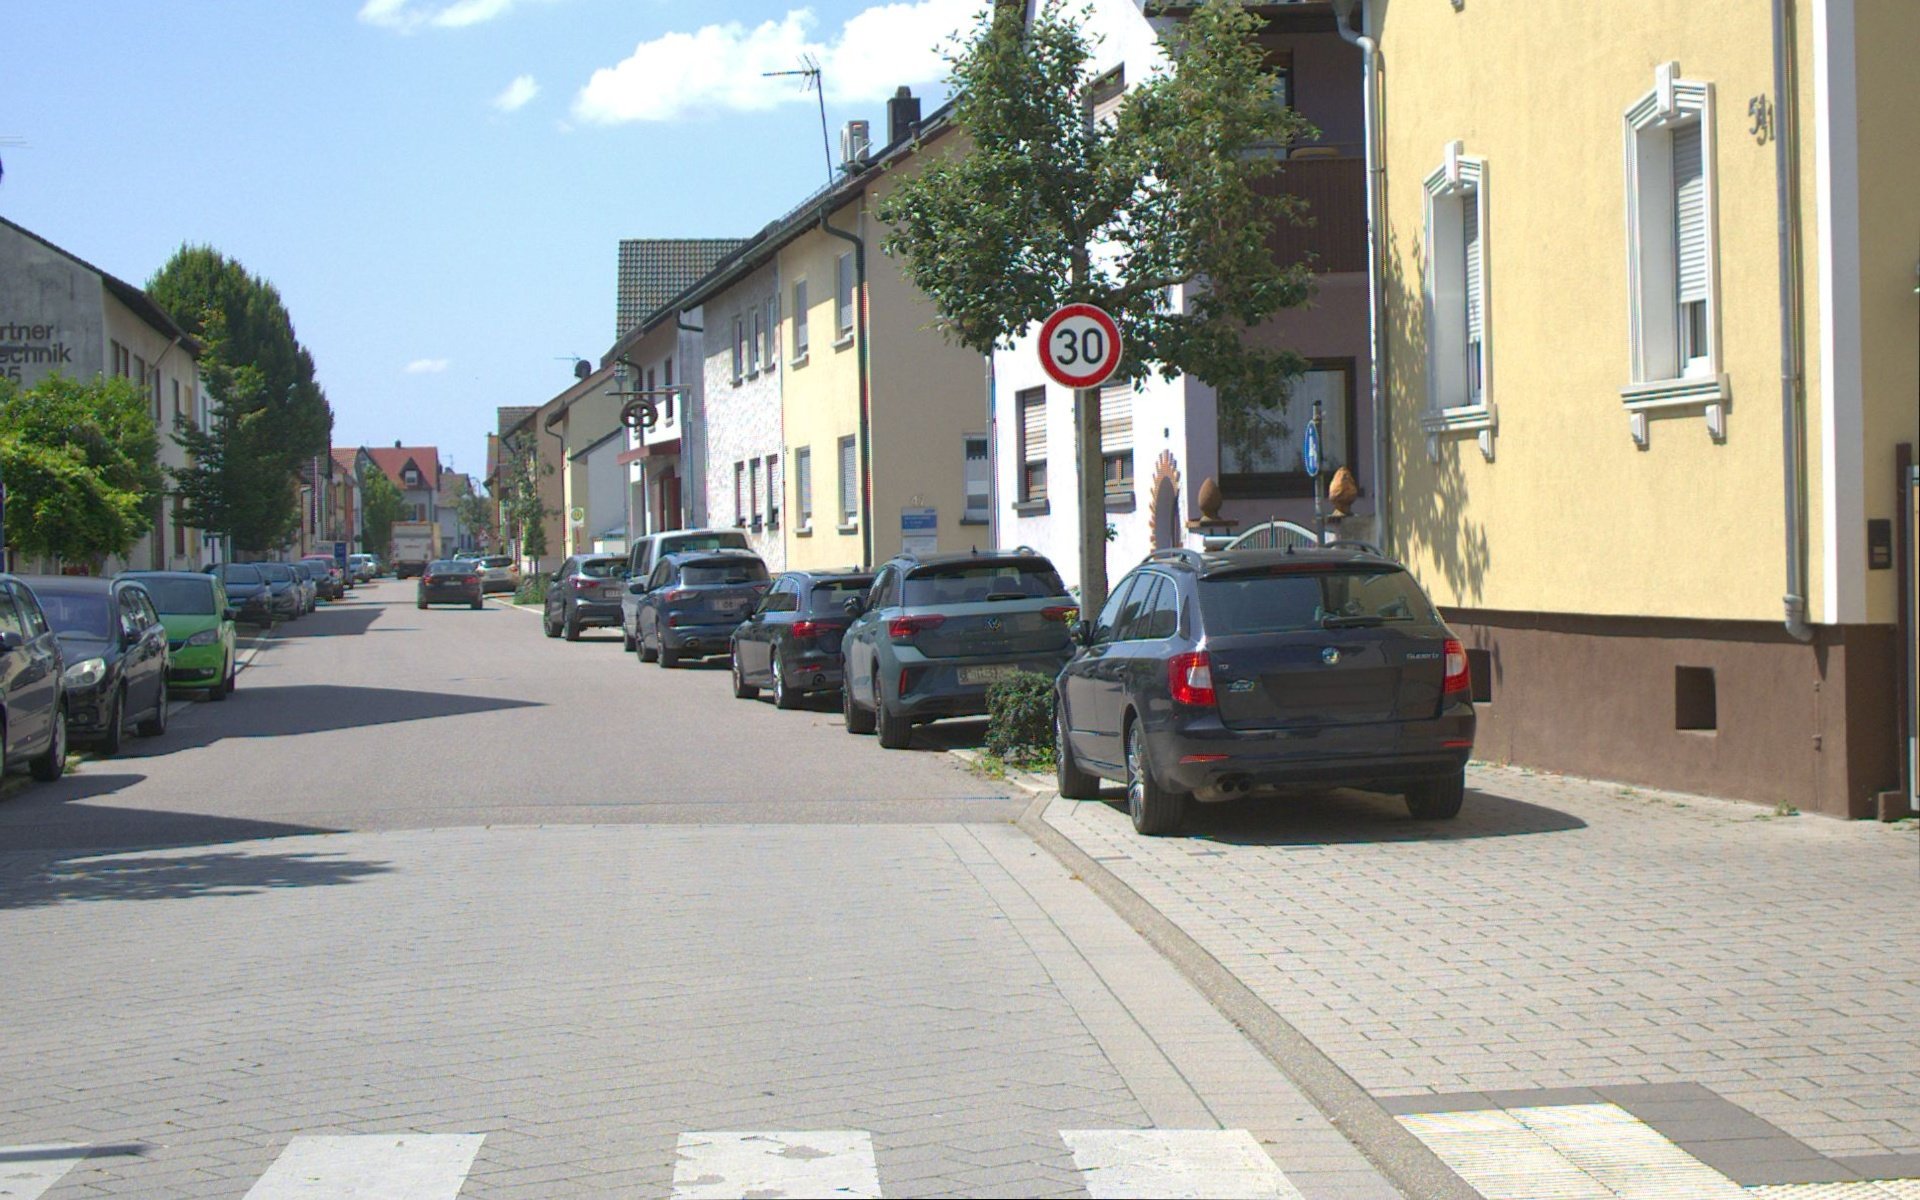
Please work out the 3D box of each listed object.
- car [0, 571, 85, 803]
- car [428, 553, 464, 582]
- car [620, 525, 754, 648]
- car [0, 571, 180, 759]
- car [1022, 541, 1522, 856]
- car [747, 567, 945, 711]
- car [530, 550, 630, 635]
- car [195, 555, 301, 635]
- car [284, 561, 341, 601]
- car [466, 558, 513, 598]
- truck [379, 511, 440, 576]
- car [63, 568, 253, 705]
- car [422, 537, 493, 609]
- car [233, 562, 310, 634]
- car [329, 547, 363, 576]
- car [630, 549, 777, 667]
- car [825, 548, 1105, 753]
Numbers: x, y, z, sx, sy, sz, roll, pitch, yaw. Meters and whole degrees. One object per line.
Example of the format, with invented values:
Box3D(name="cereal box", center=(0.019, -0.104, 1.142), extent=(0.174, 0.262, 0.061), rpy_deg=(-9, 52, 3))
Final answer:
Box3D(name="car", center=(-7.427, 0.578, 24.315), extent=(1.747, 1.525, 4.001), rpy_deg=(0, 1, -5))
Box3D(name="car", center=(-26.424, -1.685, 176.751), extent=(1.687, 1.447, 3.794), rpy_deg=(-2, 1, -10))
Box3D(name="car", center=(-4.448, -0.250, 55.587), extent=(1.906, 1.865, 4.001), rpy_deg=(-2, 1, -7))
Box3D(name="car", center=(-8.084, 0.521, 30.636), extent=(1.750, 1.527, 4.261), rpy_deg=(0, 1, -7))
Box3D(name="car", center=(1.608, 0.473, 19.305), extent=(1.828, 1.466, 4.277), rpy_deg=(-3, 1, -7))
Box3D(name="car", center=(-1.259, 0.371, 36.402), extent=(1.710, 1.382, 3.707), rpy_deg=(-2, 1, -7))
Box3D(name="car", center=(-7.151, -0.164, 64.496), extent=(1.754, 1.487, 4.001), rpy_deg=(-2, 1, -7))
Box3D(name="car", center=(-15.659, -0.129, 75.762), extent=(1.993, 1.656, 4.001), rpy_deg=(-2, 1, -8))
Box3D(name="car", center=(-24.677, -0.726, 131.101), extent=(1.916, 1.437, 4.001), rpy_deg=(-2, 1, -8))
Box3D(name="car", center=(-17.825, -0.851, 130.286), extent=(1.687, 1.447, 3.793), rpy_deg=(-2, 1, -7))
Box3D(name="truck", center=(-35.028, -3.588, 218.403), extent=(3.563, 3.940, 8.583), rpy_deg=(-2, 1, -10))
Box3D(name="car", center=(-9.457, 0.392, 40.786), extent=(1.792, 1.470, 3.871), rpy_deg=(-2, 1, -8))
Box3D(name="car", center=(-15.024, -0.816, 102.840), extent=(1.993, 2.051, 4.375), rpy_deg=(-2, 1, -8))
Box3D(name="car", center=(-17.722, -0.073, 88.621), extent=(1.683, 1.752, 3.616), rpy_deg=(-2, 1, -8))
Box3D(name="car", center=(-37.023, -2.335, 207.266), extent=(1.846, 1.701, 3.720), rpy_deg=(-2, 1, -8))
Box3D(name="car", center=(-3.772, 0.083, 50.014), extent=(1.877, 1.586, 4.001), rpy_deg=(-2, 1, -7))
Box3D(name="car", center=(-0.028, 0.363, 28.812), extent=(1.846, 1.557, 3.694), rpy_deg=(-2, 1, -7))
